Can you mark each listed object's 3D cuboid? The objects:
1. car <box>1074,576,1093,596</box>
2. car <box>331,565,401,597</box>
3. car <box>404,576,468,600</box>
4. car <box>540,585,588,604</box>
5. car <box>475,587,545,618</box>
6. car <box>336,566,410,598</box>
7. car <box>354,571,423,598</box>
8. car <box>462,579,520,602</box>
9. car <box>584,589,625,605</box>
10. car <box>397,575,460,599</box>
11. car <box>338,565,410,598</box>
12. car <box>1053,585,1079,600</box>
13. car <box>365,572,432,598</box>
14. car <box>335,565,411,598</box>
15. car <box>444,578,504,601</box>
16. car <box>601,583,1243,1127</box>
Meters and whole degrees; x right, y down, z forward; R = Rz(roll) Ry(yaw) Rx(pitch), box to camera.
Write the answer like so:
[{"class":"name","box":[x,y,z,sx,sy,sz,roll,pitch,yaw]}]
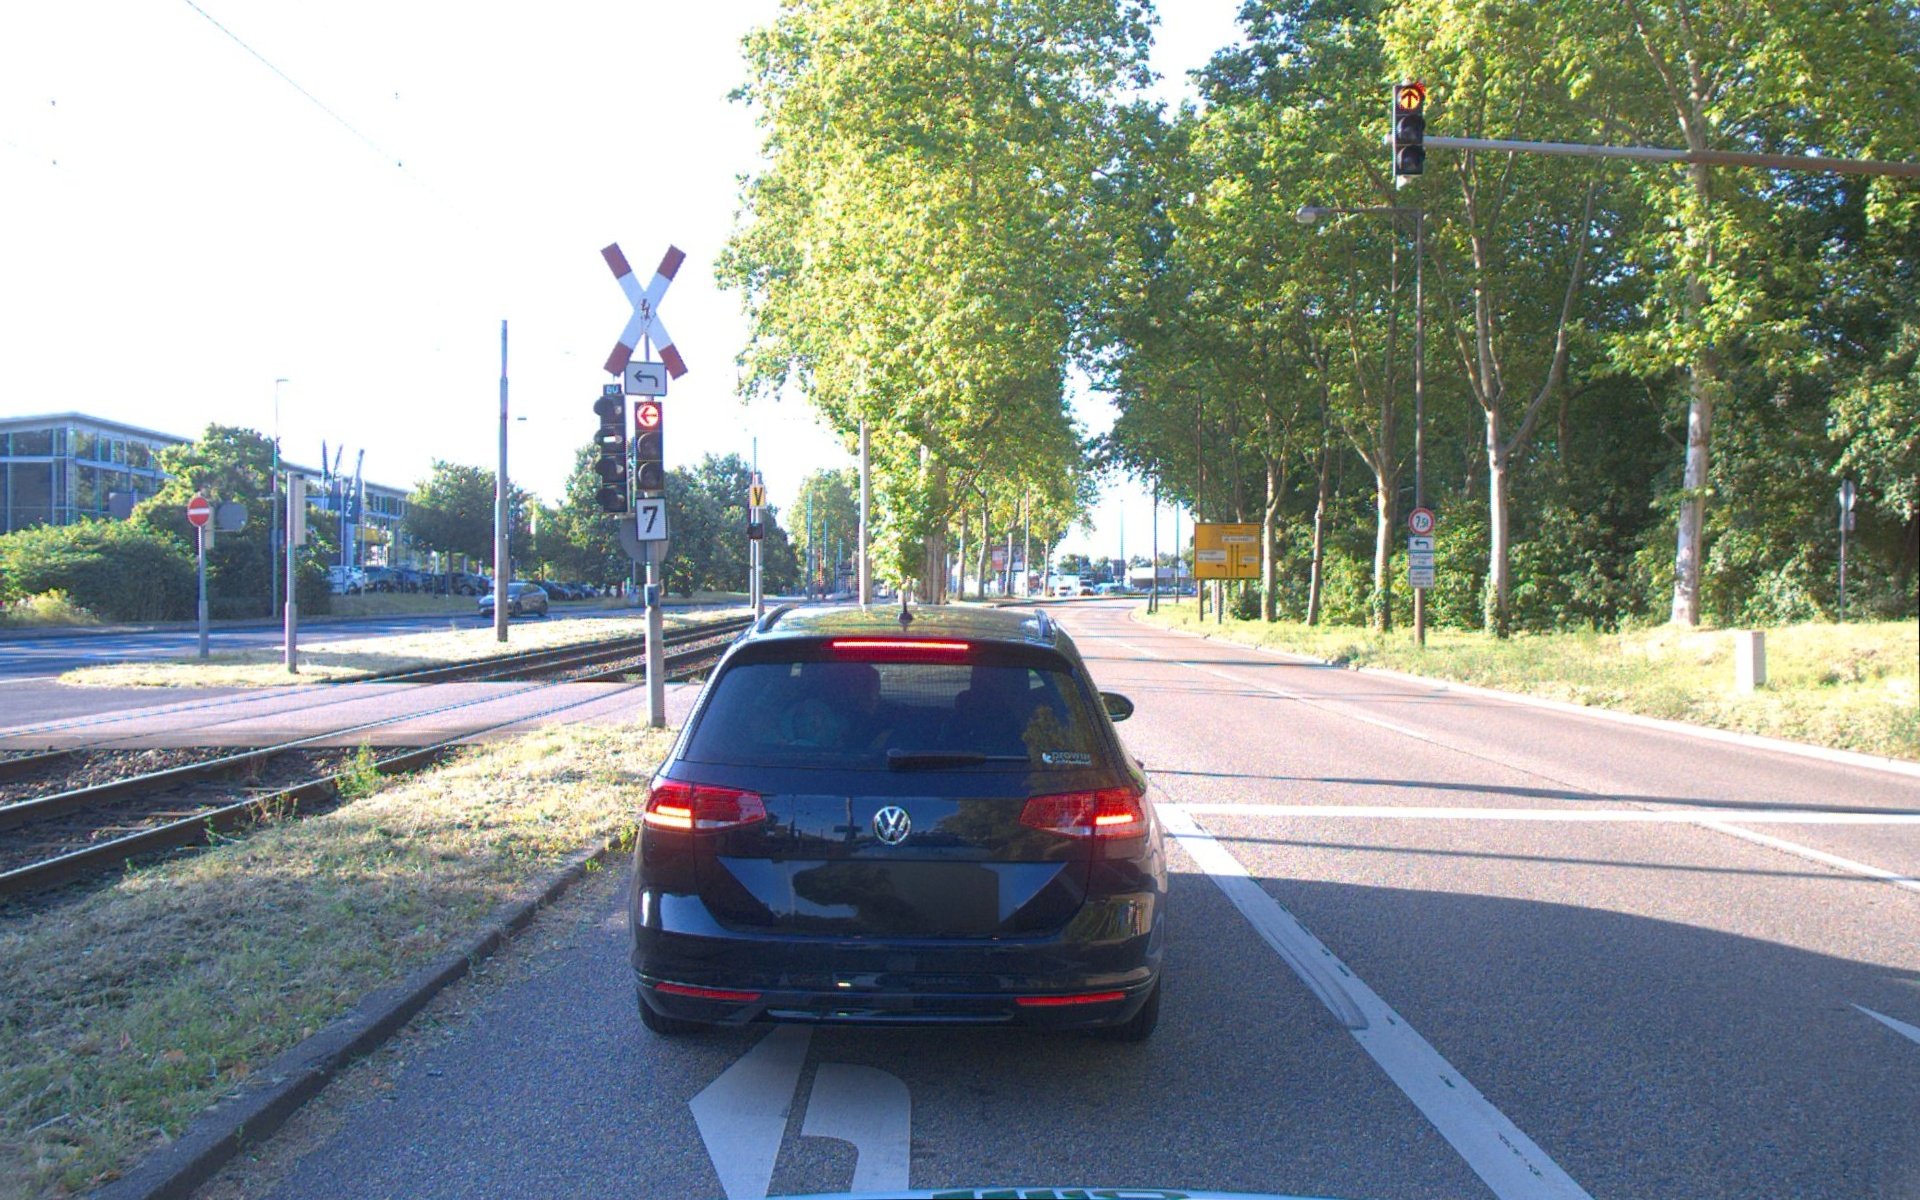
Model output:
[{"class":"car","box":[16.081,-1.806,215.302,2.052,2.504,5.853,1,1,0]},{"class":"car","box":[-35.555,-1.121,99.009,3.930,1.848,1.732,1,0,-22]},{"class":"car","box":[-36.046,-0.835,113.792,3.913,1.583,1.740,1,0,-9]},{"class":"car","box":[-35.528,-0.502,148.523,3.909,1.649,1.742,1,0,-6]},{"class":"car","box":[-22.493,0.110,82.766,1.822,1.507,4.175,1,1,9]},{"class":"car","box":[-33.699,-1.027,94.946,3.930,1.734,1.732,1,0,-22]},{"class":"car","box":[-35.208,-0.950,101.924,3.930,1.583,1.732,1,0,-22]},{"class":"car","box":[-35.249,-0.737,124.463,3.909,1.649,1.742,1,0,-6]},{"class":"car","box":[-35.976,-0.303,167.427,3.909,1.583,1.742,1,0,-5]},{"class":"car","box":[-35.714,-0.856,111.098,3.930,1.583,1.732,1,0,-22]},{"class":"car","box":[-34.448,-1.090,97.272,3.930,1.848,1.732,1,0,-22]},{"class":"car","box":[11.717,-0.826,183.010,1.823,1.507,4.092,1,1,20]},{"class":"car","box":[-35.549,-0.923,104.703,3.930,1.583,1.732,1,0,-22]},{"class":"car","box":[-32.916,-1.017,92.708,3.930,1.734,1.732,1,0,-22]},{"class":"car","box":[-35.579,-0.778,121.247,3.909,1.649,1.742,1,0,-6]},{"class":"car","box":[-0.137,0.708,6.386,1.758,1.490,3.582,1,0,-1]}]
